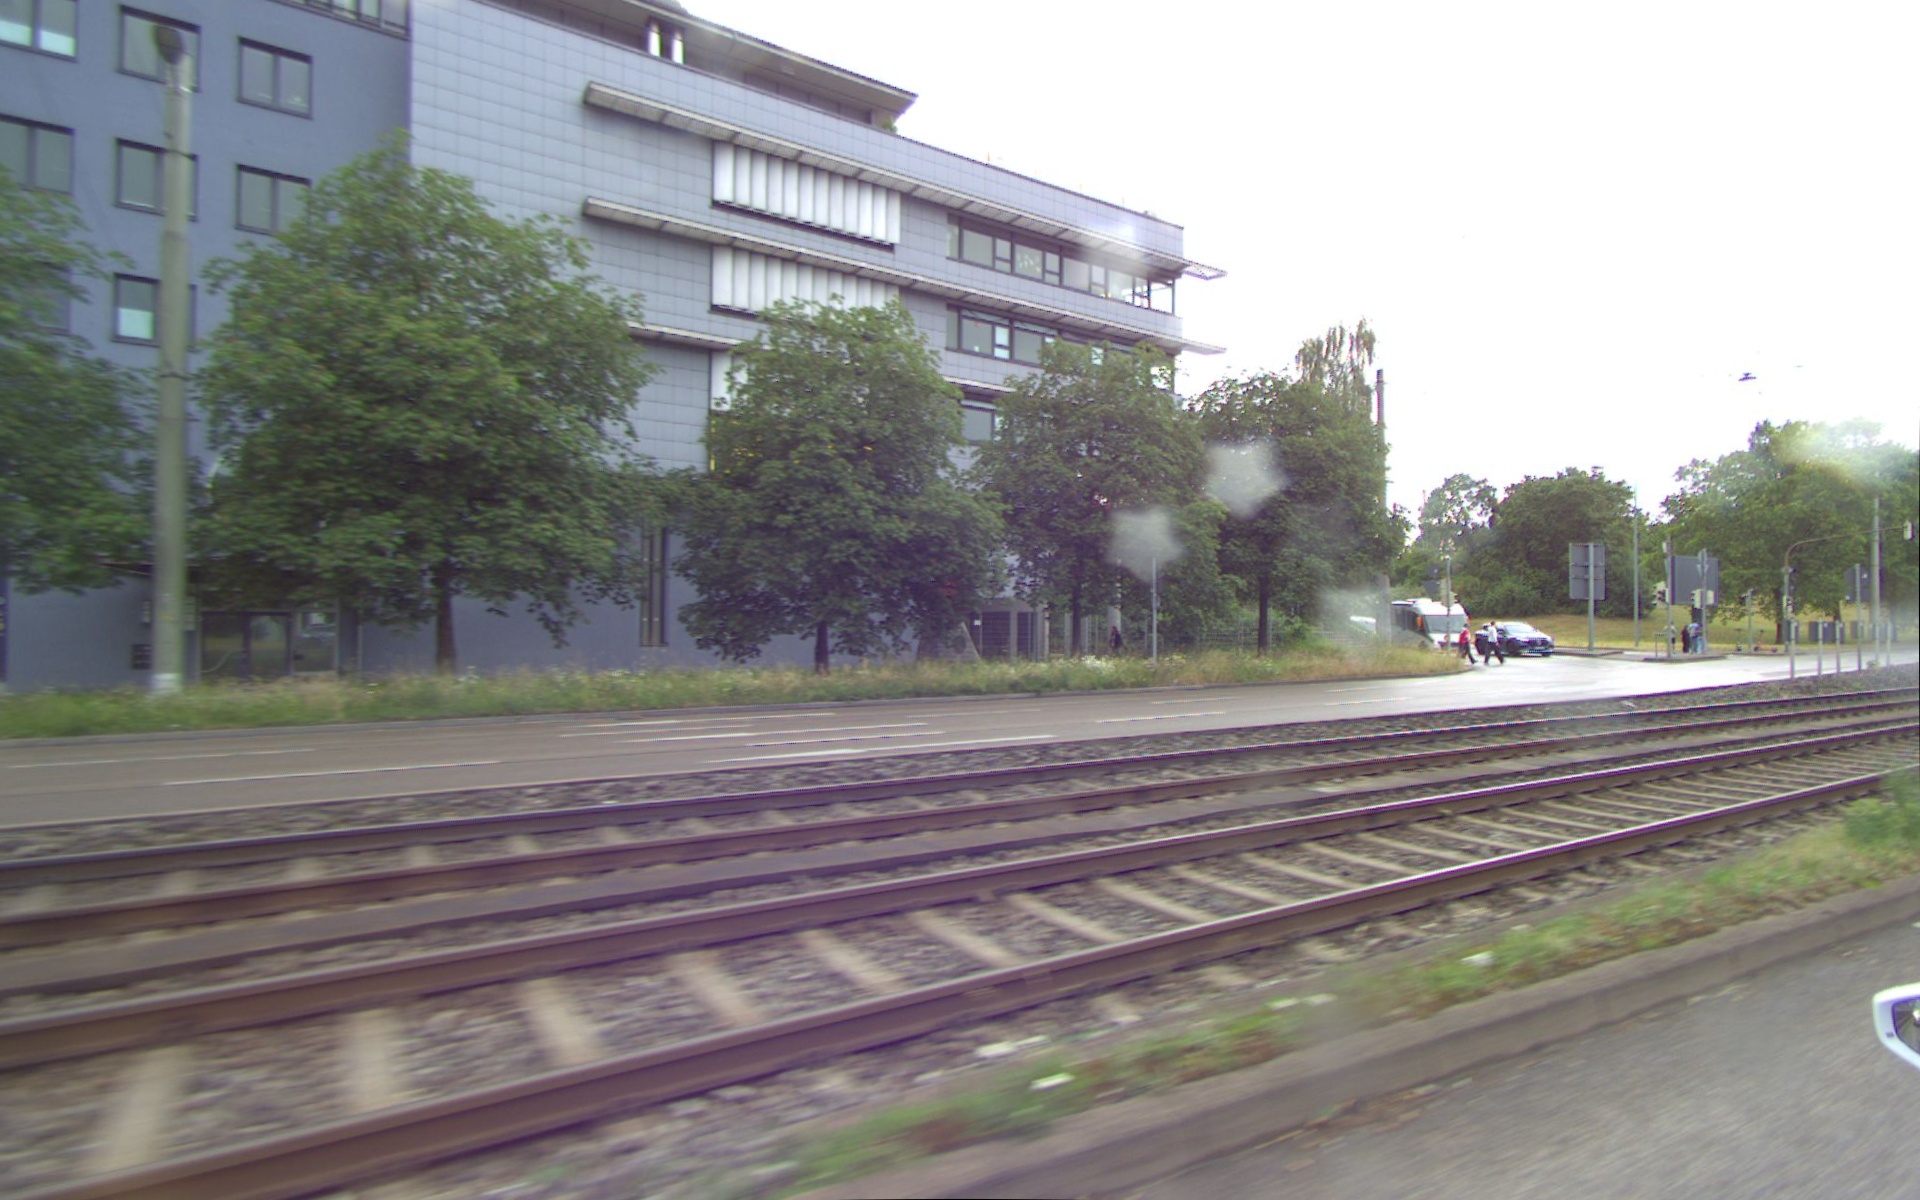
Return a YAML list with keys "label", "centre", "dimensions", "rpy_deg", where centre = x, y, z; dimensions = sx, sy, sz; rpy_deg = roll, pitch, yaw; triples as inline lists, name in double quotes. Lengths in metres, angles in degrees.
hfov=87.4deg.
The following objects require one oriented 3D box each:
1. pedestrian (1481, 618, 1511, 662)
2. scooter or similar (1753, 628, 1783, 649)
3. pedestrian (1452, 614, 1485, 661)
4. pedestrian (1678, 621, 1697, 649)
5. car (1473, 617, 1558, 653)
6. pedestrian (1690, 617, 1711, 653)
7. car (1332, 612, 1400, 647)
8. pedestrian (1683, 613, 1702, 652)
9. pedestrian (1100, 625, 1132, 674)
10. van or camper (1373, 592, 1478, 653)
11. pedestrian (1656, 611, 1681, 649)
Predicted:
- label: "pedestrian"
  centre: [23.066, 1.723, 43.234]
  dimensions: [0.936, 1.892, 0.635]
  rpy_deg: [0, -1, -9]
- label: "scooter or similar"
  centre: [46.035, 2.208, 57.246]
  dimensions: [1.254, 1.177, 0.380]
  rpy_deg: [-1, -1, 14]
- label: "pedestrian"
  centre: [22.342, 1.632, 44.135]
  dimensions: [0.928, 2.040, 0.888]
  rpy_deg: [0, -1, -9]
- label: "pedestrian"
  centre: [38.606, 1.857, 53.298]
  dimensions: [0.713, 1.493, 0.493]
  rpy_deg: [1, 1, -30]
- label: "car"
  centre: [28.884, 1.788, 52.392]
  dimensions: [1.960, 1.755, 4.632]
  rpy_deg: [0, 0, 2]
- label: "pedestrian"
  centre: [37.563, 1.784, 50.974]
  dimensions: [0.821, 1.811, 0.504]
  rpy_deg: [1, 1, -27]
- label: "car"
  centre: [24.791, 1.764, 61.499]
  dimensions: [1.962, 2.040, 4.521]
  rpy_deg: [0, -1, -6]
- label: "pedestrian"
  centre: [37.478, 1.645, 51.401]
  dimensions: [0.713, 1.982, 0.493]
  rpy_deg: [1, 1, -28]
- label: "pedestrian"
  centre: [5.772, 1.824, 37.176]
  dimensions: [0.867, 1.779, 0.722]
  rpy_deg: [1, 1, -30]
- label: "van or camper"
  centre: [24.619, 1.157, 53.506]
  dimensions: [2.441, 3.006, 7.377]
  rpy_deg: [0, 0, 3]
- label: "pedestrian"
  centre: [37.930, 1.591, 53.791]
  dimensions: [0.857, 2.040, 0.880]
  rpy_deg: [1, -1, -37]
